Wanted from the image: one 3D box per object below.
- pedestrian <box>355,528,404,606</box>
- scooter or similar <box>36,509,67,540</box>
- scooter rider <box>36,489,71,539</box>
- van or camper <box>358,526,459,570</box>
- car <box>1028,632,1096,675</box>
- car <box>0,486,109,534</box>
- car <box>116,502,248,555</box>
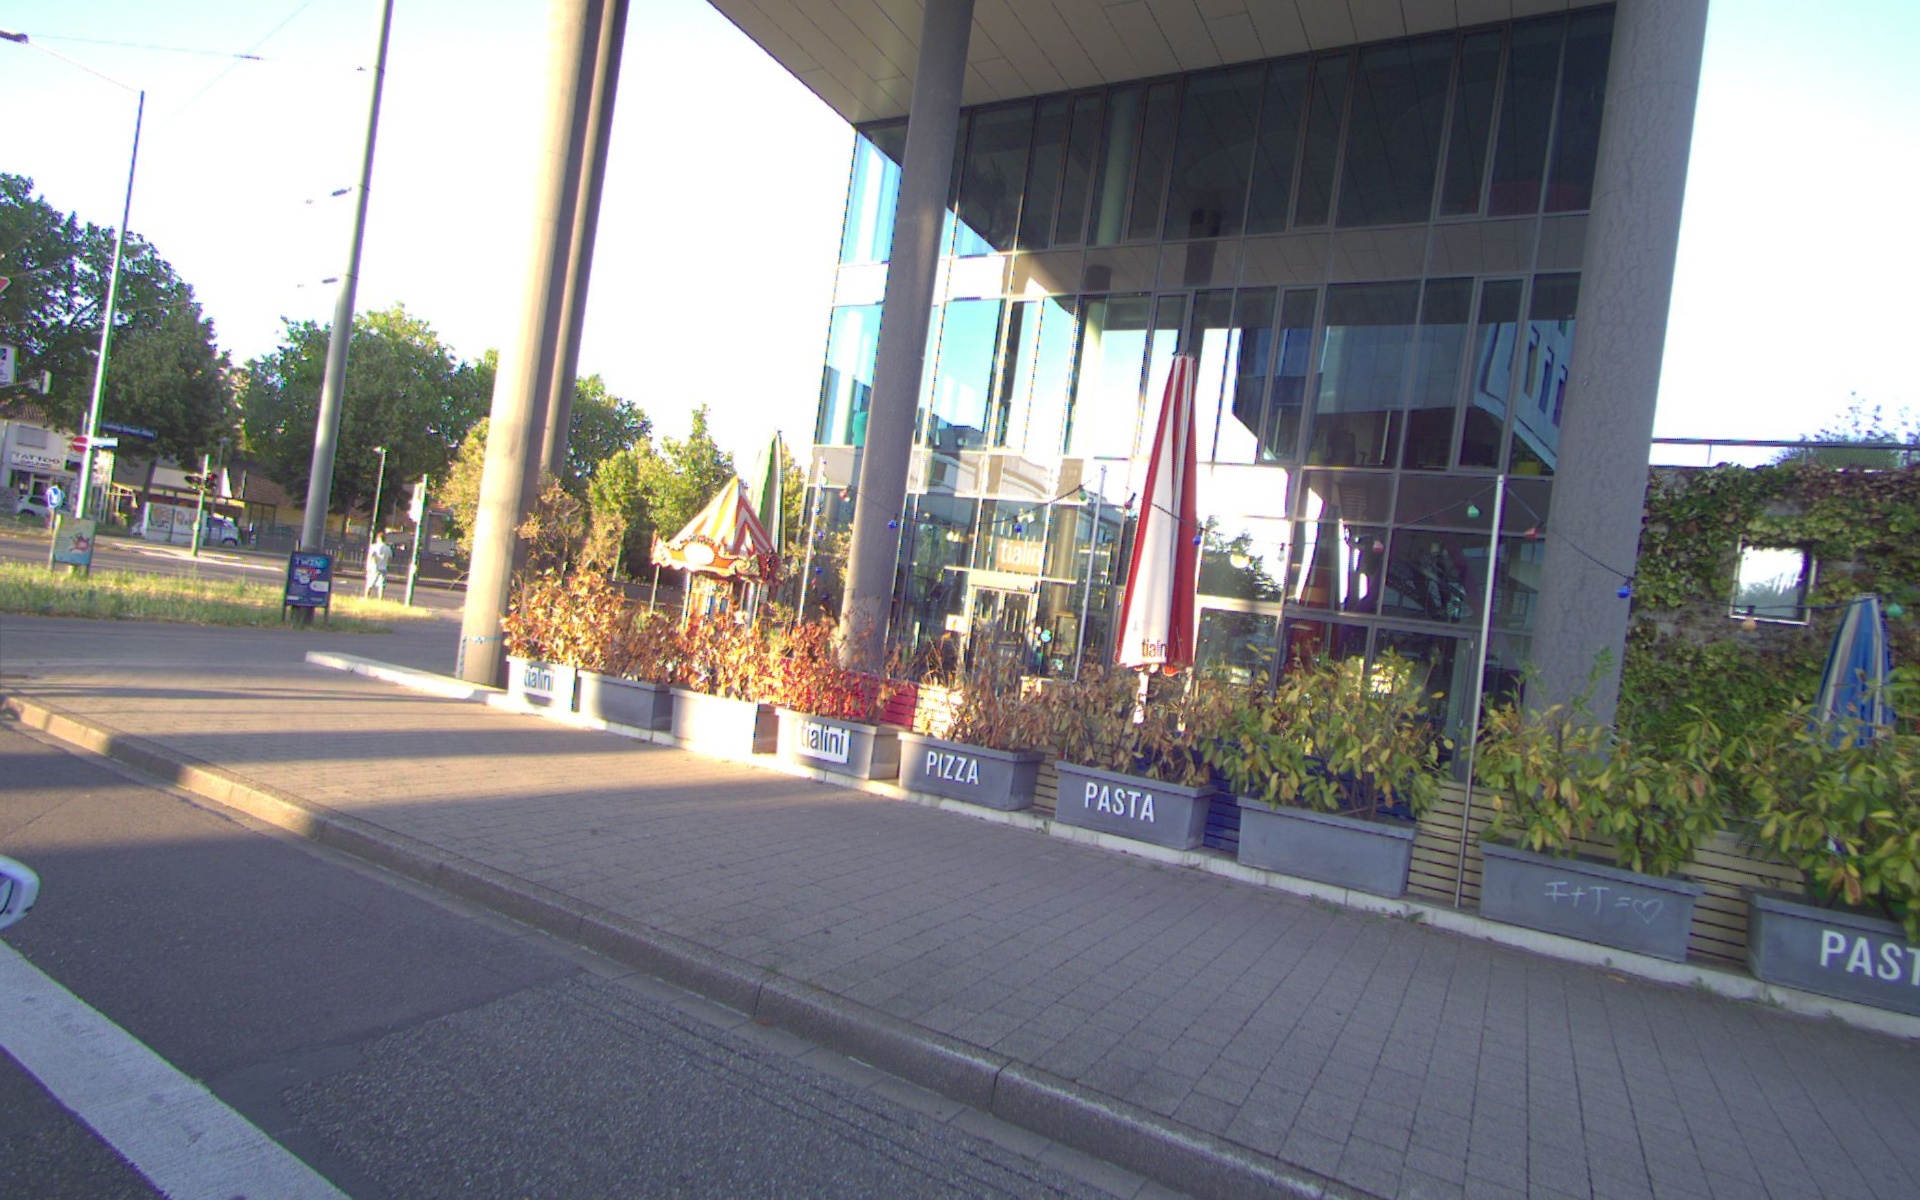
[{"bbox_3d":[-14.381,-0.815,24.913,0.758,1.812,0.794,8,-1,-38],"label":"pedestrian"},{"bbox_3d":[-36.709,-3.041,40.664,1.222,1.103,0.511,7,-1,32],"label":"scooter or similar"},{"bbox_3d":[-36.670,-3.487,40.699,0.658,1.876,0.703,7,-1,31],"label":"scooter rider"},{"bbox_3d":[-43.970,-4.112,80.431,2.229,2.438,6.569,7,-2,36],"label":"van or camper"},{"bbox_3d":[5.726,2.999,55.862,1.826,1.849,4.390,10,0,31],"label":"car"},{"bbox_3d":[-50.546,-4.988,56.073,1.968,1.868,4.236,7,-2,34],"label":"car"},{"bbox_3d":[-37.352,-3.402,48.417,1.829,1.748,4.547,7,-2,27],"label":"car"}]
